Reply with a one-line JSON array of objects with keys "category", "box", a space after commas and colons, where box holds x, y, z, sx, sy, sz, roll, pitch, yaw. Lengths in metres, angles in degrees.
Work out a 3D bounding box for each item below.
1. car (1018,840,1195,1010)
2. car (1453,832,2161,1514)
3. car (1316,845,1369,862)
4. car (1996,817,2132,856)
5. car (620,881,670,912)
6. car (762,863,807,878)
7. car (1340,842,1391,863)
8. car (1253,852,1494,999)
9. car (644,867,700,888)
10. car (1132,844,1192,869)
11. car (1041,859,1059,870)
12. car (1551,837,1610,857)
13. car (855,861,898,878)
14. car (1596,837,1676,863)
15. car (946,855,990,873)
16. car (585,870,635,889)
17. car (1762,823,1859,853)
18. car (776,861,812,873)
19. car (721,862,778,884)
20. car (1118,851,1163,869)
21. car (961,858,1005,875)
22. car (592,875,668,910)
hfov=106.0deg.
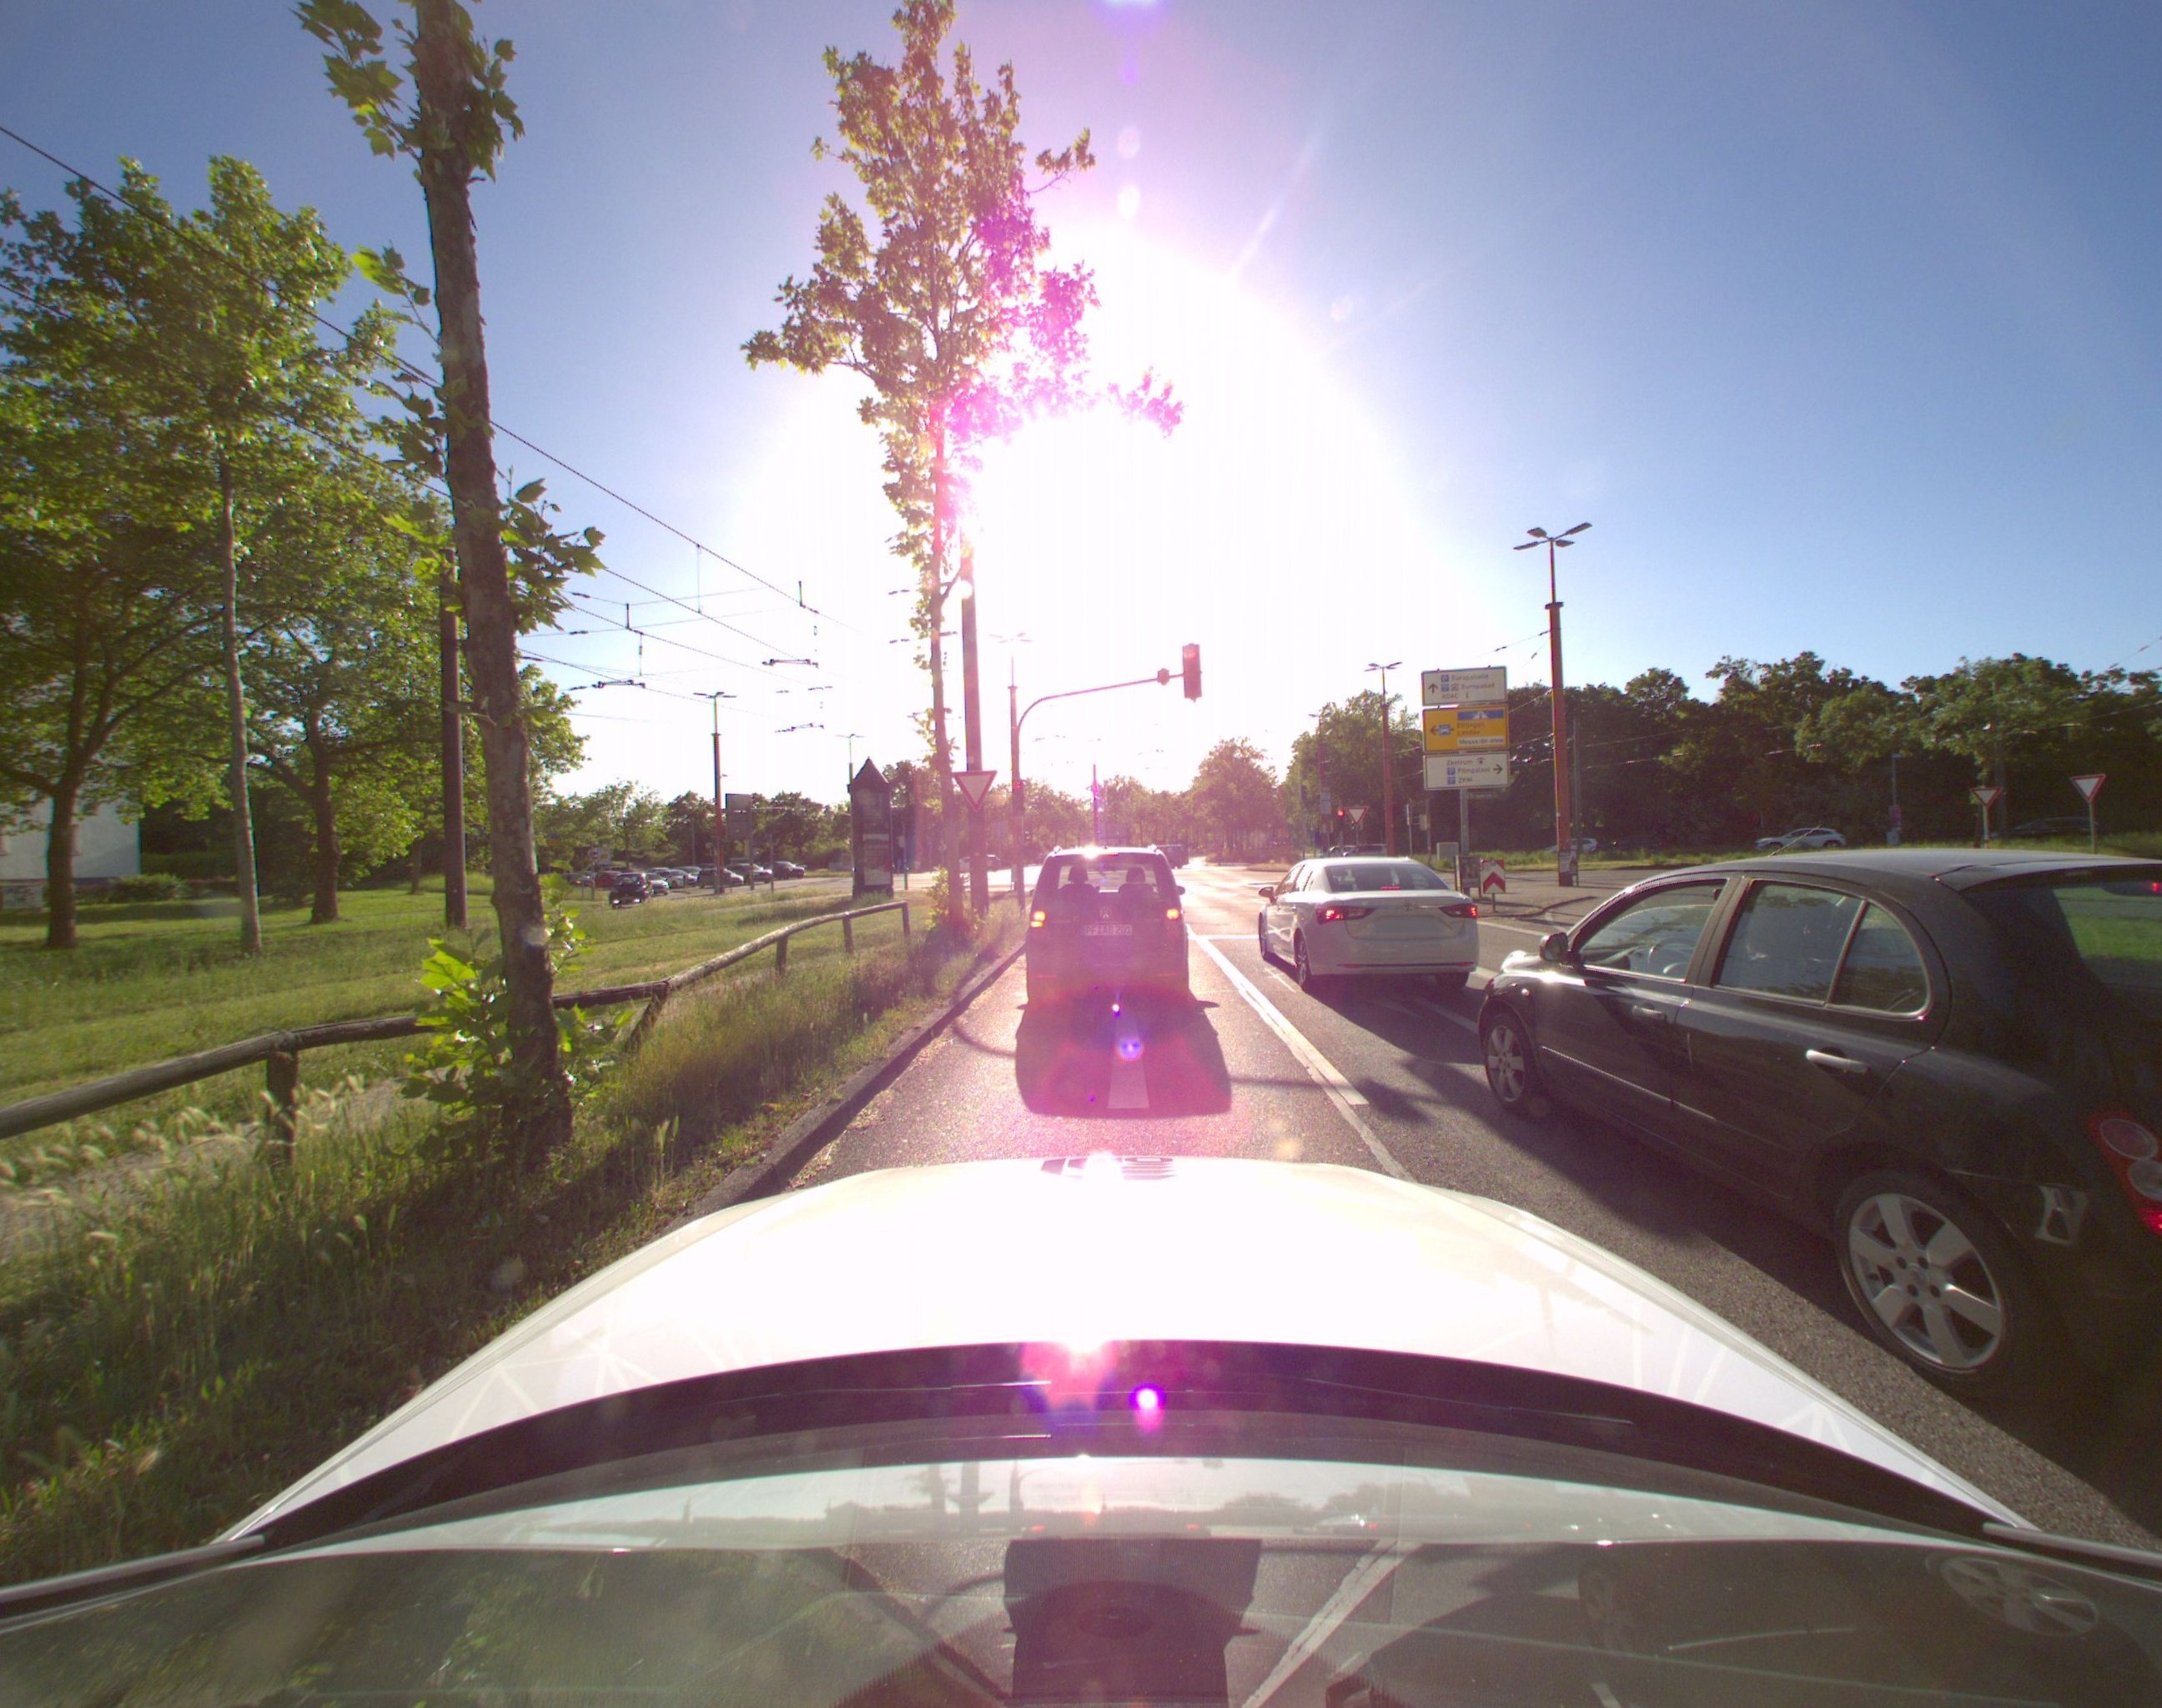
[{"category": "car", "box": [0.301, 0.697, 9.936, 1.694, 1.621, 3.898, -2, 0, 1]}, {"category": "car", "box": [3.226, 0.693, 3.583, 1.647, 1.500, 3.617, -1, 0, 2]}, {"category": "car", "box": [20.818, -0.030, 64.733, 3.792, 1.264, 1.612, 0, -1, 27]}, {"category": "car", "box": [51.539, -0.899, 42.818, 4.154, 1.883, 1.777, -2, 0, 25]}, {"category": "car", "box": [-28.252, 2.697, 52.649, 2.010, 1.731, 4.790, -1, 0, -38]}, {"category": "car", "box": [-26.527, 1.480, 72.856, 3.948, 1.330, 1.709, -2, 0, 33]}, {"category": "car", "box": [21.110, -0.095, 60.371, 3.362, 1.457, 1.473, -2, 0, 26]}, {"category": "car", "box": [3.329, 0.709, 10.155, 1.713, 1.438, 4.202, -1, 0, 3]}, {"category": "car", "box": [-32.453, 1.860, 64.587, 4.135, 1.612, 1.880, -2, 0, 27]}, {"category": "car", "box": [6.801, 0.200, 68.550, 4.528, 2.013, 2.012, -2, 0, 26]}, {"category": "car", "box": [-4.436, 1.477, 116.528, 1.904, 1.635, 4.010, 0, 0, 9]}, {"category": "car", "box": [34.790, -0.483, 56.772, 3.403, 1.368, 1.298, 0, -1, 28]}, {"category": "car", "box": [-21.009, 1.572, 83.663, 4.080, 1.598, 1.840, -2, 0, 29]}, {"category": "car", "box": [35.848, -0.253, 52.738, 3.987, 1.596, 2.012, -2, 0, 25]}, {"category": "car", "box": [-10.688, 0.956, 77.254, 3.783, 1.523, 1.705, -2, 0, 27]}, {"category": "car", "box": [-39.472, 2.163, 68.289, 3.949, 1.513, 1.743, -2, 0, 27]}, {"category": "car", "box": [45.320, -0.982, 50.729, 4.189, 1.681, 1.713, -2, 0, 30]}, {"category": "car", "box": [-33.446, 1.484, 94.867, 3.927, 1.441, 1.696, 0, -1, 26]}, {"category": "car", "box": [-26.597, 1.544, 65.343, 3.950, 1.644, 2.012, -2, 0, 26]}, {"category": "car", "box": [5.355, 0.560, 73.323, 3.700, 1.473, 1.610, -2, 0, 28]}, {"category": "car", "box": [-9.869, 1.269, 81.935, 4.081, 1.644, 1.864, -2, 0, 28]}, {"category": "car", "box": [-20.461, 1.721, 37.088, 1.791, 1.390, 2.850, -2, 0, 2]}]
